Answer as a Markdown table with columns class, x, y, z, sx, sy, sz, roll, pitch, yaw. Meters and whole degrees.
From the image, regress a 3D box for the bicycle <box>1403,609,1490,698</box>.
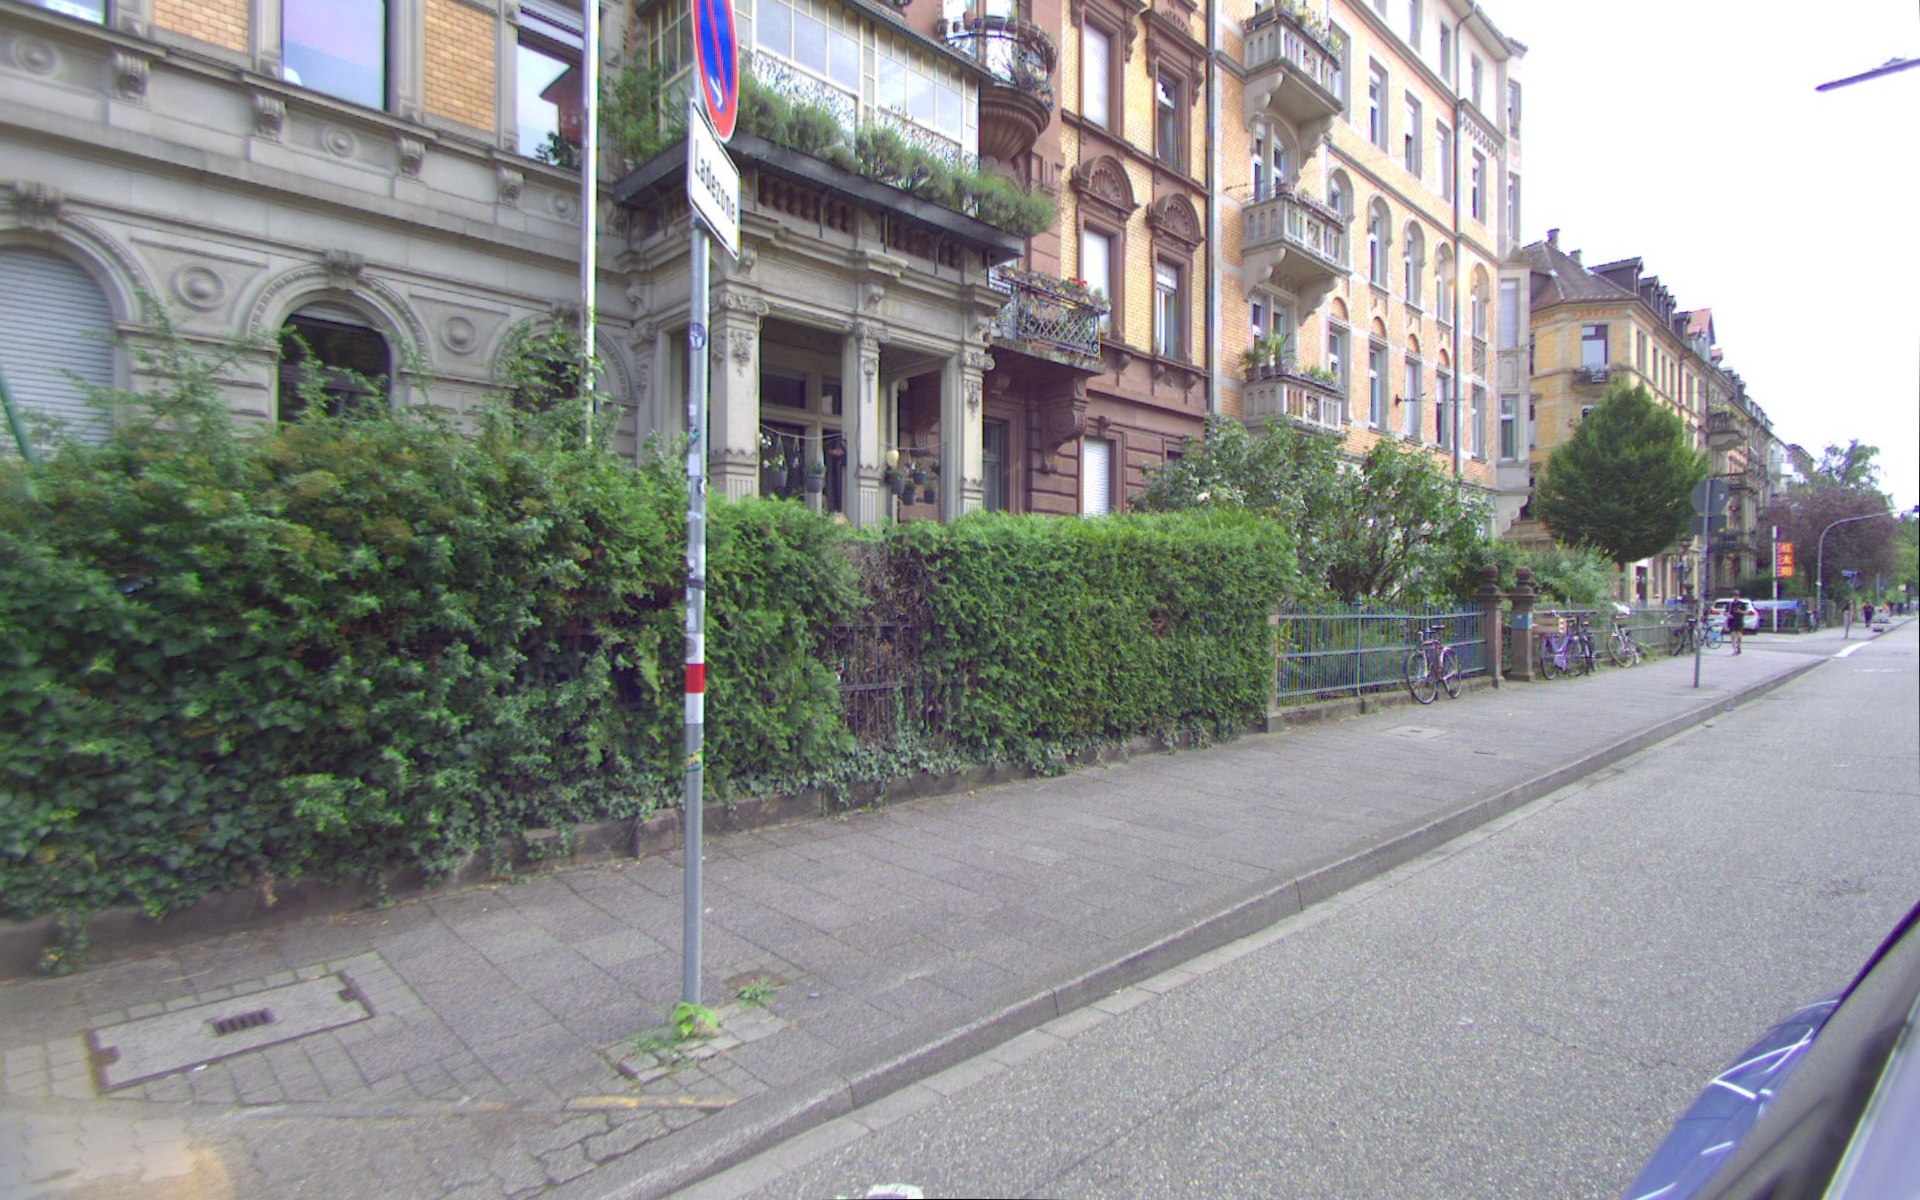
| class | x | y | z | sx | sy | sz | roll | pitch | yaw |
| --- | --- | --- | --- | --- | --- | --- | --- | --- | --- |
| bicycle | 6.628 | 0.691 | 13.760 | 0.579 | 1.126 | 1.645 | 0 | 0 | 44 |

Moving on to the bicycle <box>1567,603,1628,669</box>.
| class | x | y | z | sx | sy | sz | roll | pitch | yaw |
| --- | --- | --- | --- | --- | --- | --- | --- | --- | --- |
| bicycle | 11.827 | 0.648 | 18.757 | 0.579 | 1.125 | 1.645 | 5 | 4 | 44 |

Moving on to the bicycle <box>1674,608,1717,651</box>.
| class | x | y | z | sx | sy | sz | roll | pitch | yaw |
| --- | --- | --- | --- | --- | --- | --- | --- | --- | --- |
| bicycle | 18.457 | 0.723 | 25.380 | 0.579 | 0.995 | 1.645 | 5 | 4 | 44 |

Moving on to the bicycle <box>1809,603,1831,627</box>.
| class | x | y | z | sx | sy | sz | roll | pitch | yaw |
| --- | --- | --- | --- | --- | --- | --- | --- | --- | --- |
| bicycle | 41.141 | 0.719 | 48.409 | 1.843 | 1.127 | 0.629 | 0 | 0 | -44 |

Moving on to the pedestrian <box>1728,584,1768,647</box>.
| class | x | y | z | sx | sy | sz | roll | pitch | yaw |
| --- | --- | --- | --- | --- | --- | --- | --- | --- | --- |
| pedestrian | 20.805 | 0.398 | 26.724 | 0.822 | 1.644 | 0.731 | 0 | 0 | -45 |

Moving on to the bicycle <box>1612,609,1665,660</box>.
| class | x | y | z | sx | sy | sz | roll | pitch | yaw |
| --- | --- | --- | --- | --- | --- | --- | --- | --- | --- |
| bicycle | 14.309 | 0.708 | 21.334 | 0.579 | 0.995 | 1.645 | 5 | 4 | 44 |

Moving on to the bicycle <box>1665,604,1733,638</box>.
| class | x | y | z | sx | sy | sz | roll | pitch | yaw |
| --- | --- | --- | --- | --- | --- | --- | --- | --- | --- |
| bicycle | 25.983 | 0.712 | 35.620 | 0.522 | 1.142 | 1.896 | 0 | 0 | -27 |

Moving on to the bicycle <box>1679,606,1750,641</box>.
| class | x | y | z | sx | sy | sz | roll | pitch | yaw |
| --- | --- | --- | --- | --- | --- | --- | --- | --- | --- |
| bicycle | 24.361 | 0.758 | 32.700 | 1.838 | 1.127 | 0.631 | 0 | 0 | -1 |

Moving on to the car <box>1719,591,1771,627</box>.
| class | x | y | z | sx | sy | sz | roll | pitch | yaw |
| --- | --- | --- | --- | --- | --- | --- | --- | --- | --- |
| car | 35.641 | 0.377 | 45.897 | 1.749 | 1.544 | 3.943 | 0 | 0 | 40 |

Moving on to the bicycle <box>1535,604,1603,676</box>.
| class | x | y | z | sx | sy | sz | roll | pitch | yaw |
| --- | --- | --- | --- | --- | --- | --- | --- | --- | --- |
| bicycle | 10.465 | 0.662 | 17.373 | 0.579 | 1.125 | 1.645 | 5 | 4 | 44 |

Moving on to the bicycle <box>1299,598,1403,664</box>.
| class | x | y | z | sx | sy | sz | roll | pitch | yaw |
| --- | --- | --- | --- | --- | --- | --- | --- | --- | --- |
| bicycle | 7.152 | 0.547 | 18.551 | 1.667 | 1.126 | 0.602 | 1 | 0 | 45 |

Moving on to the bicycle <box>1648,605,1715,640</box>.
| class | x | y | z | sx | sy | sz | roll | pitch | yaw |
| --- | --- | --- | --- | --- | --- | --- | --- | --- | --- |
| bicycle | 25.022 | 0.772 | 35.118 | 0.521 | 1.142 | 1.897 | 0 | 0 | -23 |
